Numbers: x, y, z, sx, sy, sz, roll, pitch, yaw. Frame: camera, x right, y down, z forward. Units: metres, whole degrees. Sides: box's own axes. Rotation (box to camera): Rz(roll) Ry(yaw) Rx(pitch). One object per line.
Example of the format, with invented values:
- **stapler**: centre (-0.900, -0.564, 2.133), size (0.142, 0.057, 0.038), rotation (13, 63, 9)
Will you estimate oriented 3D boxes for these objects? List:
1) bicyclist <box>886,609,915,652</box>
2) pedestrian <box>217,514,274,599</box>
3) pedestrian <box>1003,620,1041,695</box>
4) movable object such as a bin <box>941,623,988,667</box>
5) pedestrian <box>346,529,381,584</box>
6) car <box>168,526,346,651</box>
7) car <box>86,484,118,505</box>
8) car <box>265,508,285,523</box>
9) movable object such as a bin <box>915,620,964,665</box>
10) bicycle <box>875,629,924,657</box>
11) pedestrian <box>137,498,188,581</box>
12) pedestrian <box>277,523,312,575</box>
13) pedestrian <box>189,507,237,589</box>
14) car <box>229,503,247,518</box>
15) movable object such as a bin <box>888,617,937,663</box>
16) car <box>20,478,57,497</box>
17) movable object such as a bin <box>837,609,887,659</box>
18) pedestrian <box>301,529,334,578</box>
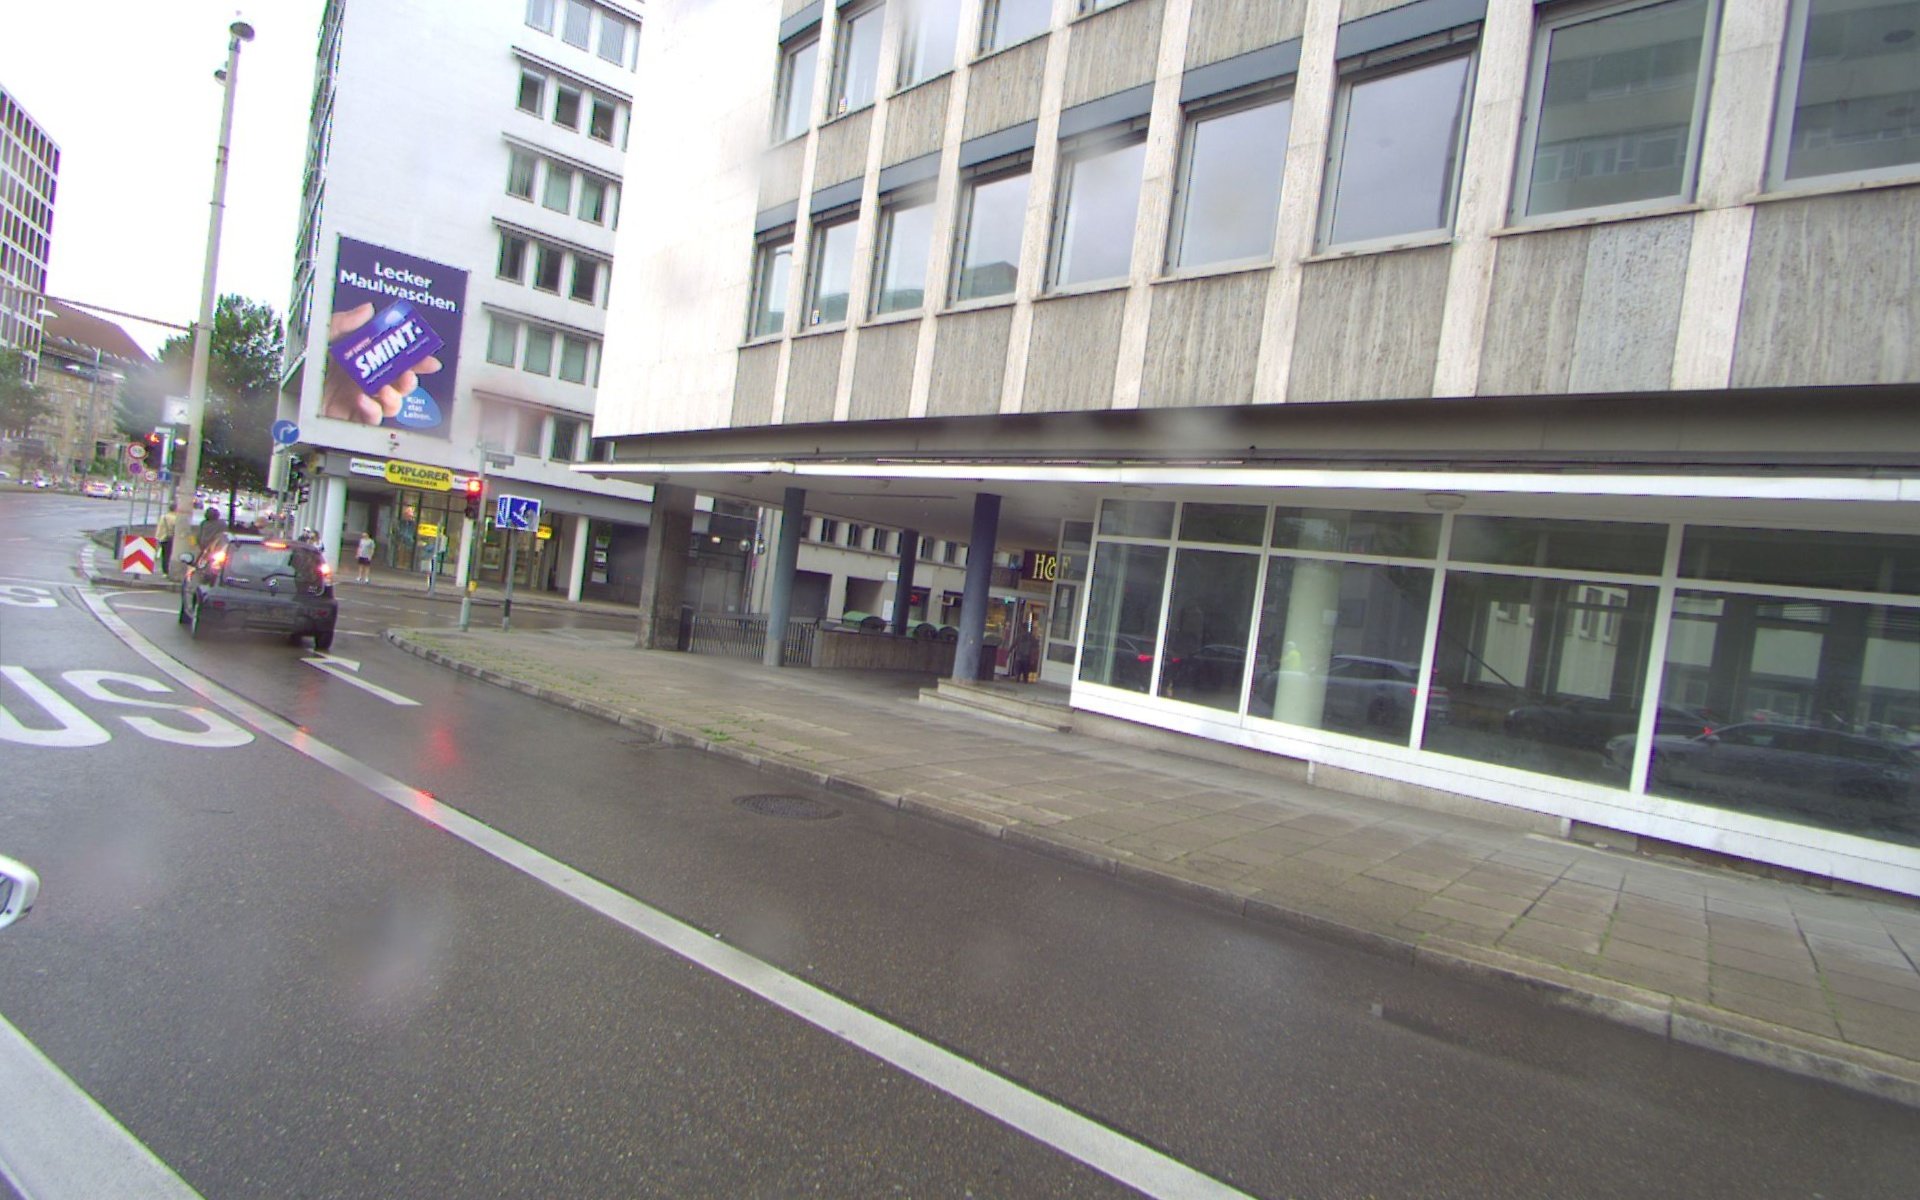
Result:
- **bicyclist**: centre (-2.358, 1.211, 39.857), size (0.764, 1.588, 0.527), rotation (7, 0, -40)
- **pedestrian**: centre (-15.735, -0.958, 22.157), size (0.768, 1.752, 0.589), rotation (7, 0, -44)
- **pedestrian**: centre (1.620, 1.486, 26.097), size (0.697, 1.825, 0.801), rotation (8, 0, 7)
- **movable object such as a bin**: centre (0.163, 1.640, 36.627), size (1.095, 1.399, 1.186), rotation (7, 1, -37)
- **pedestrian**: centre (-20.990, -1.530, 35.398), size (0.660, 1.815, 0.771), rotation (7, 0, -15)
- **car**: centre (-10.451, -0.231, 14.830), size (1.566, 1.446, 3.953), rotation (9, -2, -42)
- **car**: centre (-84.048, -10.329, 98.575), size (1.878, 1.662, 3.962), rotation (8, -1, -35)
- **car**: centre (-91.603, -11.310, 134.589), size (1.680, 1.503, 3.973), rotation (8, -2, -28)
- **movable object such as a bin**: centre (-0.742, 1.513, 35.939), size (1.095, 1.399, 1.186), rotation (7, 1, -37)
- **bicycle**: centre (-2.372, 1.706, 39.897), size (2.018, 0.899, 0.398), rotation (9, -1, -41)
- **pedestrian**: centre (-18.672, -1.414, 23.575), size (0.745, 1.820, 0.808), rotation (7, 1, -38)
- **pedestrian**: centre (-22.888, -1.729, 34.620), size (0.660, 1.675, 0.651), rotation (8, 0, -15)
- **pedestrian**: centre (-17.726, -1.237, 23.873), size (0.745, 1.820, 0.808), rotation (7, 1, -38)
- **car**: centre (-123.656, -15.354, 172.317), size (1.980, 2.037, 3.968), rotation (8, -1, -31)
- **movable object such as a bin**: centre (-1.659, 1.401, 35.226), size (1.095, 1.399, 1.186), rotation (7, 1, -37)
- **car**: centre (-99.484, -12.127, 108.666), size (1.979, 1.506, 3.968), rotation (8, 0, -30)
- **movable object such as a bin**: centre (-3.268, 1.134, 33.520), size (0.961, 1.447, 1.268), rotation (7, 1, -36)
- **pedestrian**: centre (-22.203, -1.598, 34.762), size (0.616, 1.561, 0.651), rotation (8, 0, -15)
